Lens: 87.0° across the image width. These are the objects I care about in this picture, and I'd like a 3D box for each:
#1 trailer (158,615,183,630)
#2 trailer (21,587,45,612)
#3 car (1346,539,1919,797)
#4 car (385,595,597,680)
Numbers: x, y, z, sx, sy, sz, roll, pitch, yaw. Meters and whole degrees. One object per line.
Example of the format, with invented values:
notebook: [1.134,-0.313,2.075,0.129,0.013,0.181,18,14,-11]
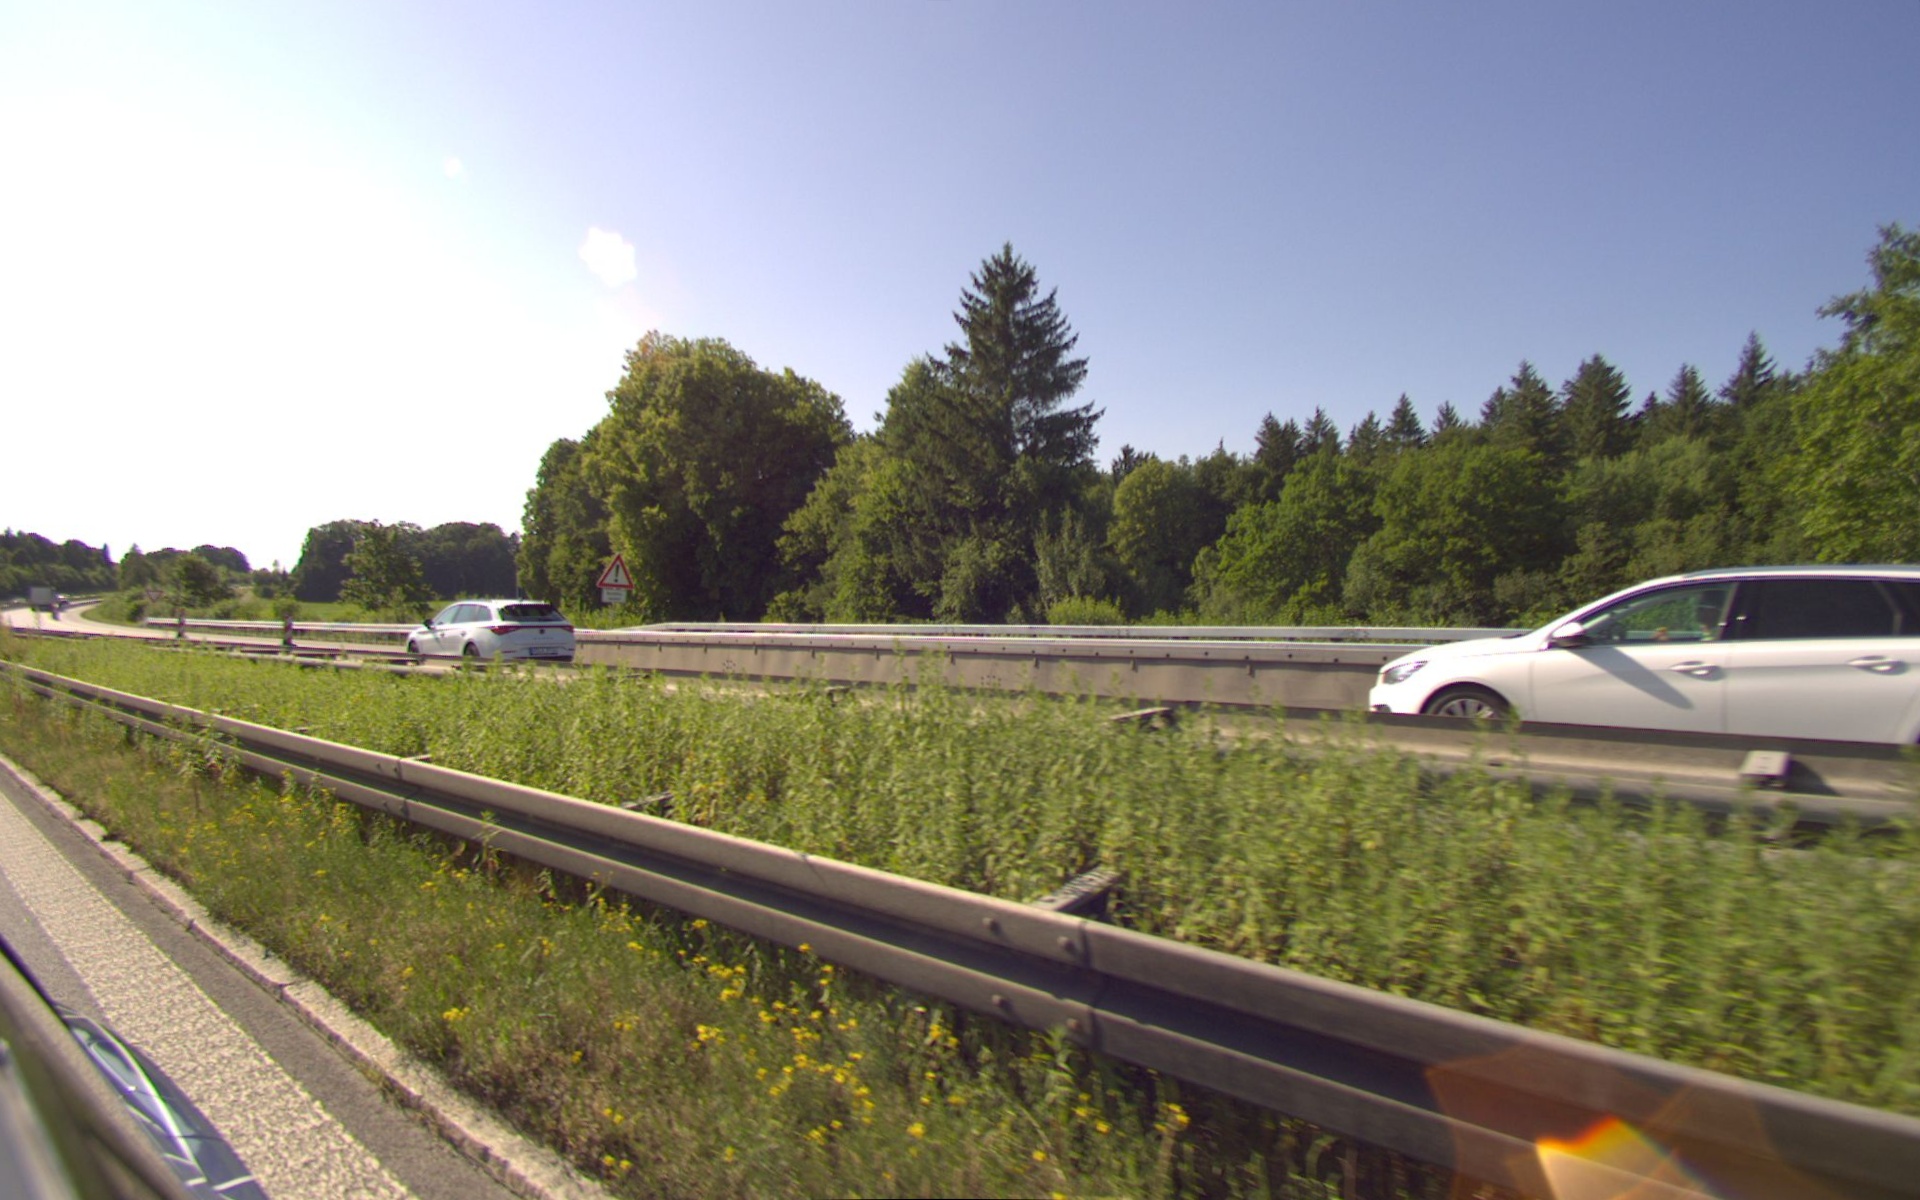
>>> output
trailer: [-59.094,1.666,75.706,3.425,1.060,0.982,-1,3,44]
trailer: [-155.353,-0.091,169.589,2.647,3.984,13.780,1,-1,-44]
car: [5.385,0.408,6.795,4.952,1.443,1.683,-1,-2,41]
car: [-9.232,0.673,19.713,4.981,1.443,1.864,-1,0,41]
